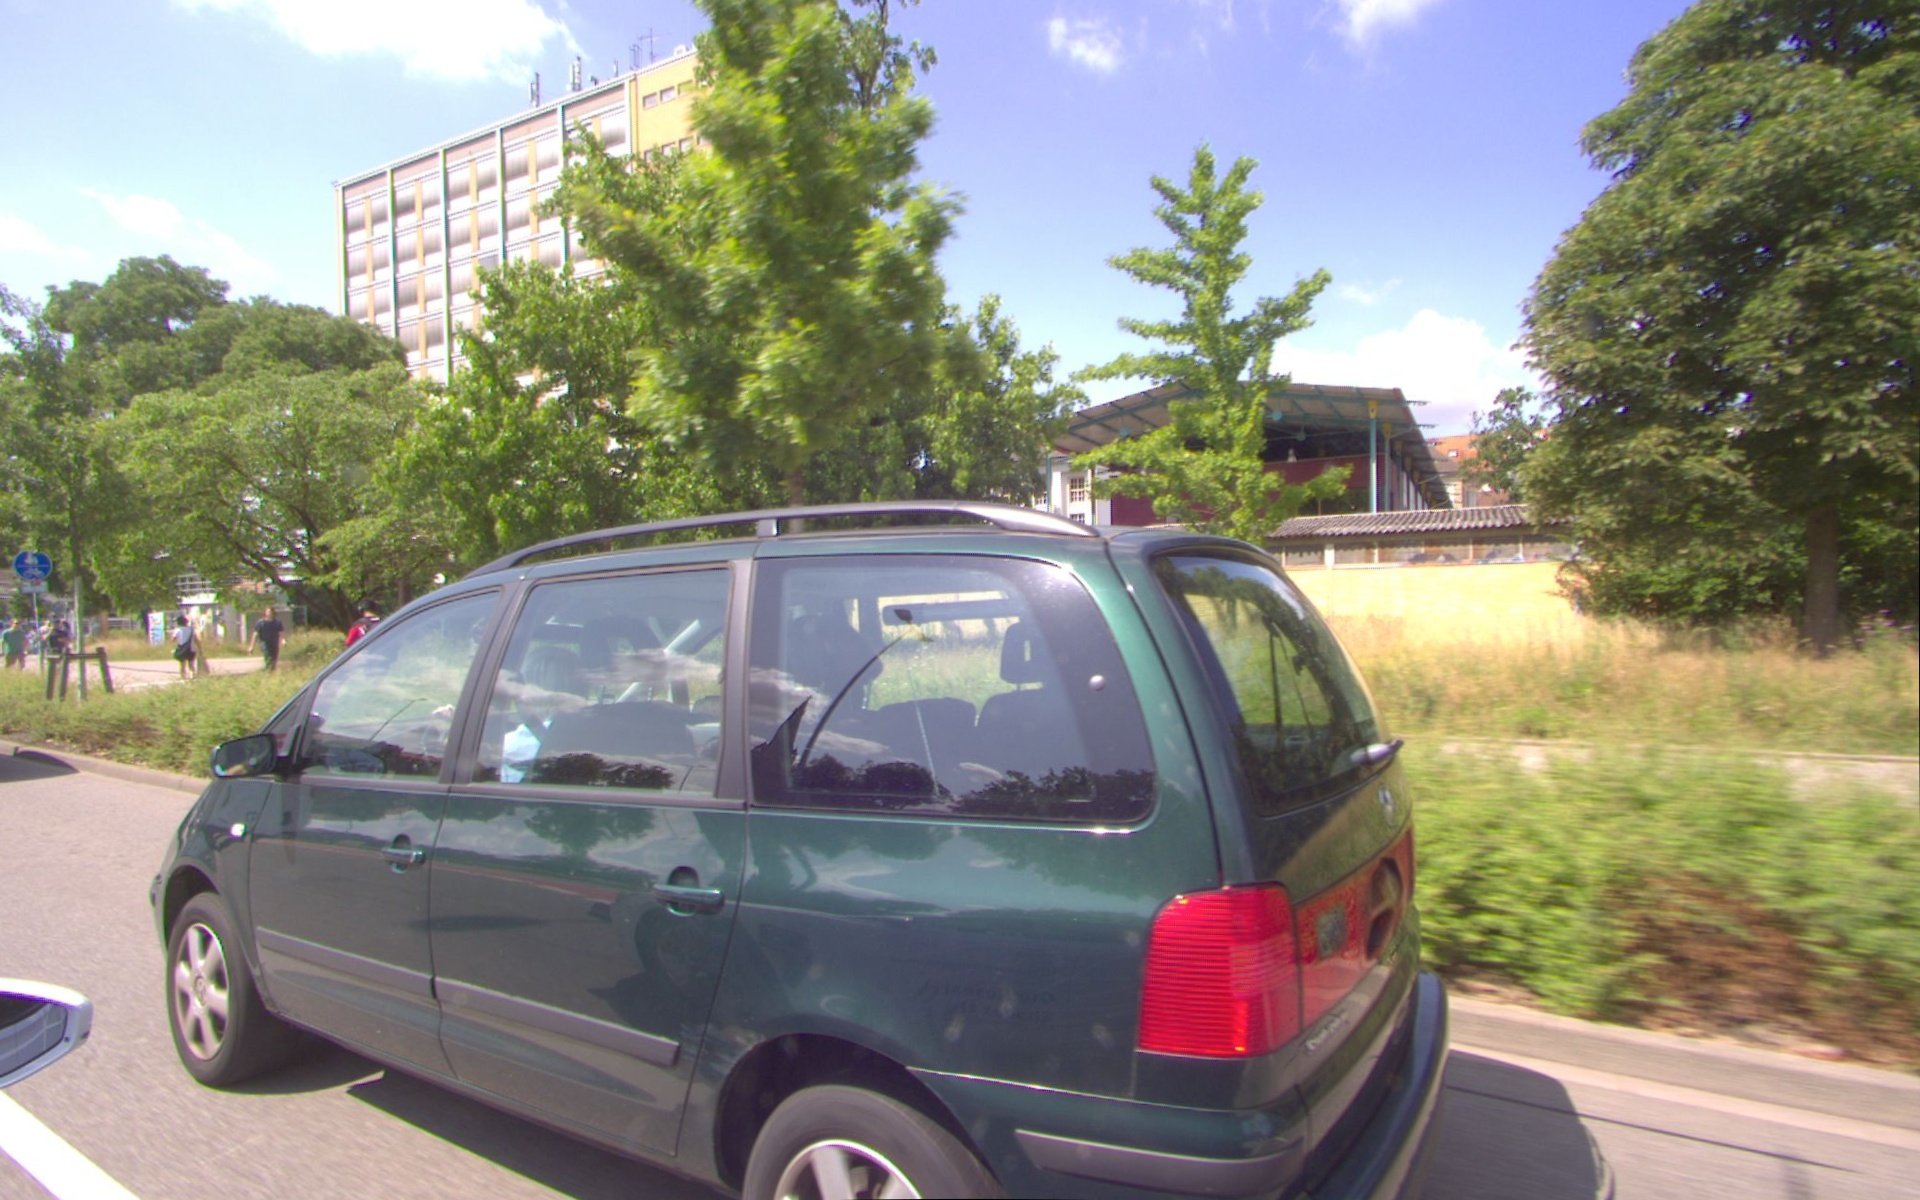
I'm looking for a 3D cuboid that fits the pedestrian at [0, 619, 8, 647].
[{"bbox_3d":[-56.583,1.956,58.868,0.751,1.610,0.754,-2,-2,35],"label":"pedestrian"}]

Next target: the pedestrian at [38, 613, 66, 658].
[{"bbox_3d":[-37.604,1.469,41.477,0.602,1.827,0.746,0,2,39],"label":"pedestrian"}]

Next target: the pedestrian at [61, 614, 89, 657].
[{"bbox_3d":[-37.398,1.481,42.317,0.602,1.776,0.746,0,2,39],"label":"pedestrian"}]

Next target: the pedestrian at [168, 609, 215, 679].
[{"bbox_3d":[-18.188,1.027,23.707,0.638,1.618,0.665,0,2,32],"label":"pedestrian"}]

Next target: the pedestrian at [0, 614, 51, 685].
[{"bbox_3d":[-24.500,1.283,26.196,0.868,1.801,0.749,-1,1,27],"label":"pedestrian"}]

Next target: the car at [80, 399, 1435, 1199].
[{"bbox_3d":[-0.953,0.666,3.307,4.385,1.744,1.791,-1,-2,33],"label":"car"}]

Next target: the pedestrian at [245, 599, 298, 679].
[{"bbox_3d":[-15.638,0.866,22.743,0.658,1.773,0.747,0,2,33],"label":"pedestrian"}]

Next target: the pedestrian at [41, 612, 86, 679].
[{"bbox_3d":[-24.182,1.208,27.010,0.600,1.770,0.666,-1,2,27],"label":"pedestrian"}]

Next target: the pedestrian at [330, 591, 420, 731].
[{"bbox_3d":[-7.669,0.775,13.141,0.836,1.773,0.665,0,2,32],"label":"pedestrian"}]

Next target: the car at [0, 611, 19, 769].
[{"bbox_3d":[-12.254,0.975,11.060,4.175,1.663,1.876,-1,0,35],"label":"car"}]

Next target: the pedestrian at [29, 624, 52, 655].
[{"bbox_3d":[-56.157,2.404,61.171,0.770,1.846,0.753,-2,3,35],"label":"pedestrian"}]

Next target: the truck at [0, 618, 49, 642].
[{"bbox_3d":[-117.232,3.655,123.964,2.842,2.889,8.781,-1,-1,-14],"label":"truck"}]

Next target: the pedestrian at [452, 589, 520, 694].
[{"bbox_3d":[-8.219,0.703,17.381,0.865,1.773,0.665,0,2,32],"label":"pedestrian"}]
